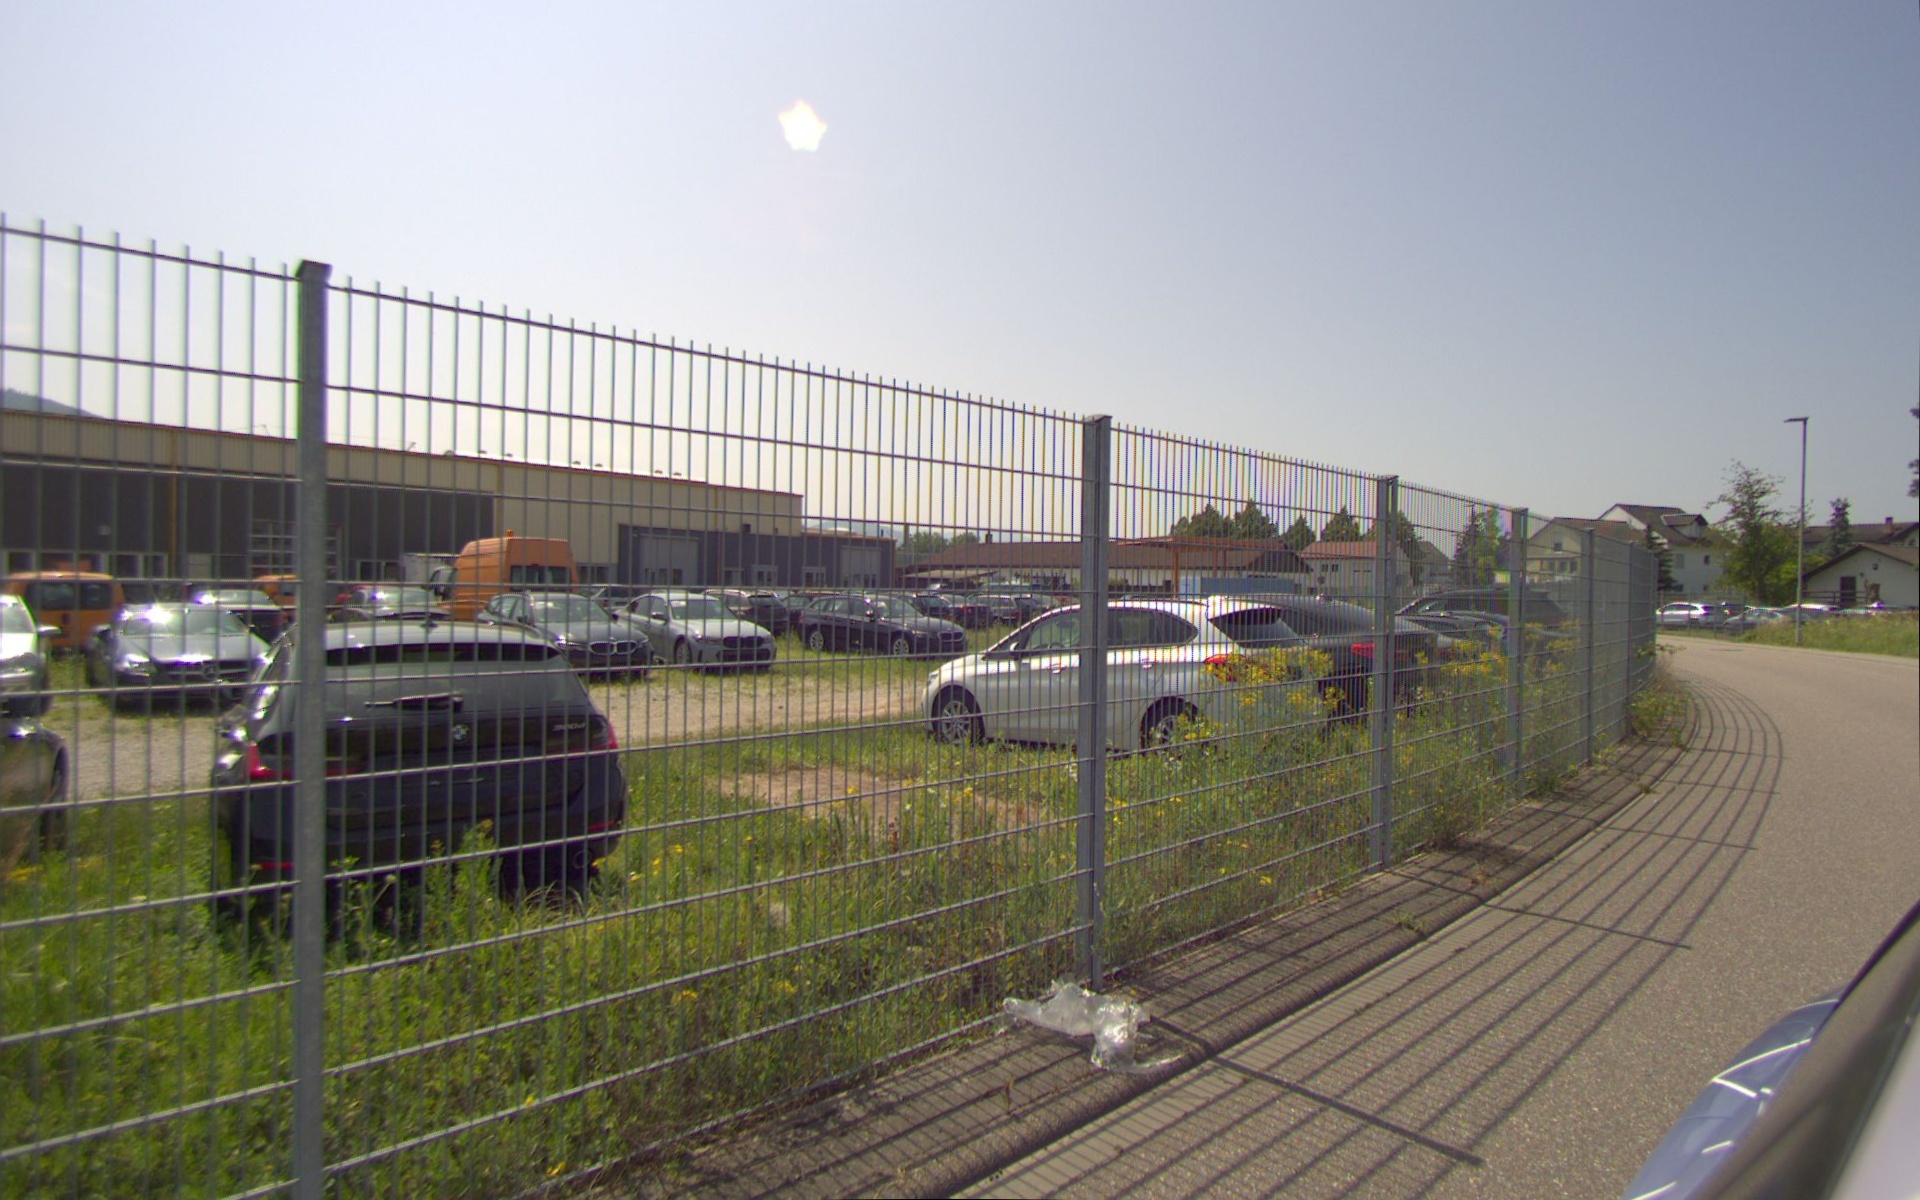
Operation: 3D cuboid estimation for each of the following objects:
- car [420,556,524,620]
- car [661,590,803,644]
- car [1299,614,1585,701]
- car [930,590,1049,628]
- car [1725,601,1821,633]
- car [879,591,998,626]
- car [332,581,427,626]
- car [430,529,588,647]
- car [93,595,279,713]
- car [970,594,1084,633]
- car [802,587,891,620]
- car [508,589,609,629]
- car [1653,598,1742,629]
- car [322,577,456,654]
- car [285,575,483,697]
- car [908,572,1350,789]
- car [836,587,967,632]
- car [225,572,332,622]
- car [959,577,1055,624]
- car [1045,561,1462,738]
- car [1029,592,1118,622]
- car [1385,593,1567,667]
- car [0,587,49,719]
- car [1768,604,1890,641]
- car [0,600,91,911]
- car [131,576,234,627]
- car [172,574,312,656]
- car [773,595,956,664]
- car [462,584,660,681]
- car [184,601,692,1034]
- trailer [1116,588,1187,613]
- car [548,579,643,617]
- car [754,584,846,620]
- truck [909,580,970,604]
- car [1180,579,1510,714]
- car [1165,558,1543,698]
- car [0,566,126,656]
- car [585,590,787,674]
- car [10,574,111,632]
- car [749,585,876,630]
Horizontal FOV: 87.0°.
[{"bbox_3d":[-17.871,-0.480,36.978,4.374,2.199,1.943,2,1,43],"label":"car"},{"bbox_3d":[-6.440,0.431,28.310,1.792,1.285,4.378,1,1,-45],"label":"car"},{"bbox_3d":[8.671,0.956,18.422,4.455,1.399,1.699,-1,-1,39],"label":"car"},{"bbox_3d":[1.053,0.312,37.898,1.812,1.221,4.378,1,1,-45],"label":"car"},{"bbox_3d":[40.676,0.842,50.731,1.549,1.437,3.469,1,1,-16],"label":"car"},{"bbox_3d":[-0.812,0.267,35.609,1.592,1.046,4.378,1,1,-45],"label":"car"},{"bbox_3d":[-20.496,0.091,35.640,1.812,1.395,4.378,1,1,-45],"label":"car"},{"bbox_3d":[-11.167,-0.339,24.866,1.948,2.617,4.734,1,1,-45],"label":"car"},{"bbox_3d":[-10.896,0.655,14.155,1.585,1.318,3.763,1,1,-45],"label":"car"},{"bbox_3d":[2.615,0.498,40.124,1.812,1.362,4.378,1,1,-45],"label":"car"},{"bbox_3d":[-5.385,0.141,47.568,1.812,1.395,4.378,1,1,-45],"label":"car"},{"bbox_3d":[-15.729,0.324,39.554,4.374,1.339,1.943,2,1,43],"label":"car"},{"bbox_3d":[39.532,0.691,54.324,1.549,1.508,3.654,1,1,-16],"label":"car"},{"bbox_3d":[-12.508,0.279,22.071,1.563,1.480,3.819,1,1,-45],"label":"car"},{"bbox_3d":[-9.734,0.482,16.980,1.967,1.738,3.991,-3,3,-43],"label":"car"},{"bbox_3d":[1.523,0.611,10.173,4.122,1.690,1.696,2,1,43],"label":"car"},{"bbox_3d":[-1.971,0.274,33.222,1.848,1.291,4.378,1,1,-45],"label":"car"},{"bbox_3d":[-22.449,-0.127,33.273,4.374,1.504,1.943,2,1,43],"label":"car"},{"bbox_3d":[2.139,0.003,47.099,1.812,2.007,4.378,1,1,-45],"label":"car"},{"bbox_3d":[3.239,0.419,11.927,1.694,1.690,4.475,1,1,-43],"label":"car"},{"bbox_3d":[4.660,0.267,41.737,1.644,1.122,3.366,1,1,-45],"label":"car"},{"bbox_3d":[11.315,0.612,22.309,3.446,1.435,1.501,2,1,29],"label":"car"},{"bbox_3d":[-12.740,0.592,12.822,1.585,1.455,3.763,1,1,-45],"label":"car"},{"bbox_3d":[36.588,0.921,42.774,1.554,1.351,4.399,1,1,4],"label":"car"},{"bbox_3d":[-5.303,0.751,4.406,1.730,1.395,4.297,1,1,-33],"label":"car"},{"bbox_3d":[-24.293,0.000,31.582,3.987,1.482,1.969,2,1,44],"label":"car"},{"bbox_3d":[-14.814,0.255,20.813,1.727,1.480,3.819,1,1,-45],"label":"car"},{"bbox_3d":[-2.399,0.645,24.388,1.792,1.369,4.747,1,1,-45],"label":"car"},{"bbox_3d":[-7.328,0.501,18.328,1.635,1.450,4.564,1,1,-45],"label":"car"},{"bbox_3d":[-3.290,0.783,5.824,1.733,1.395,4.350,1,1,-39],"label":"car"},{"bbox_3d":[13.138,0.048,69.504,4.521,1.586,1.772,2,-2,-19],"label":"trailer"},{"bbox_3d":[-15.244,-0.097,42.223,4.374,1.403,1.943,2,1,43],"label":"car"},{"bbox_3d":[-7.121,0.073,44.750,1.812,1.395,4.378,1,1,-45],"label":"car"},{"bbox_3d":[-1.638,-0.640,81.693,4.720,1.820,2.056,1,1,-43],"label":"truck"},{"bbox_3d":[6.057,0.632,16.136,4.664,1.791,1.723,2,1,32],"label":"car"},{"bbox_3d":[5.217,0.266,13.833,4.470,1.602,1.767,2,1,44],"label":"car"},{"bbox_3d":[-16.808,0.152,18.888,1.563,1.480,3.819,1,1,-45],"label":"car"},{"bbox_3d":[-5.626,0.564,20.398,1.792,1.369,4.747,1,1,-45],"label":"car"},{"bbox_3d":[-25.862,0.046,29.040,4.374,1.504,1.726,2,1,43],"label":"car"},{"bbox_3d":[-4.596,0.200,31.152,1.551,1.198,4.378,1,1,-45],"label":"car"}]
